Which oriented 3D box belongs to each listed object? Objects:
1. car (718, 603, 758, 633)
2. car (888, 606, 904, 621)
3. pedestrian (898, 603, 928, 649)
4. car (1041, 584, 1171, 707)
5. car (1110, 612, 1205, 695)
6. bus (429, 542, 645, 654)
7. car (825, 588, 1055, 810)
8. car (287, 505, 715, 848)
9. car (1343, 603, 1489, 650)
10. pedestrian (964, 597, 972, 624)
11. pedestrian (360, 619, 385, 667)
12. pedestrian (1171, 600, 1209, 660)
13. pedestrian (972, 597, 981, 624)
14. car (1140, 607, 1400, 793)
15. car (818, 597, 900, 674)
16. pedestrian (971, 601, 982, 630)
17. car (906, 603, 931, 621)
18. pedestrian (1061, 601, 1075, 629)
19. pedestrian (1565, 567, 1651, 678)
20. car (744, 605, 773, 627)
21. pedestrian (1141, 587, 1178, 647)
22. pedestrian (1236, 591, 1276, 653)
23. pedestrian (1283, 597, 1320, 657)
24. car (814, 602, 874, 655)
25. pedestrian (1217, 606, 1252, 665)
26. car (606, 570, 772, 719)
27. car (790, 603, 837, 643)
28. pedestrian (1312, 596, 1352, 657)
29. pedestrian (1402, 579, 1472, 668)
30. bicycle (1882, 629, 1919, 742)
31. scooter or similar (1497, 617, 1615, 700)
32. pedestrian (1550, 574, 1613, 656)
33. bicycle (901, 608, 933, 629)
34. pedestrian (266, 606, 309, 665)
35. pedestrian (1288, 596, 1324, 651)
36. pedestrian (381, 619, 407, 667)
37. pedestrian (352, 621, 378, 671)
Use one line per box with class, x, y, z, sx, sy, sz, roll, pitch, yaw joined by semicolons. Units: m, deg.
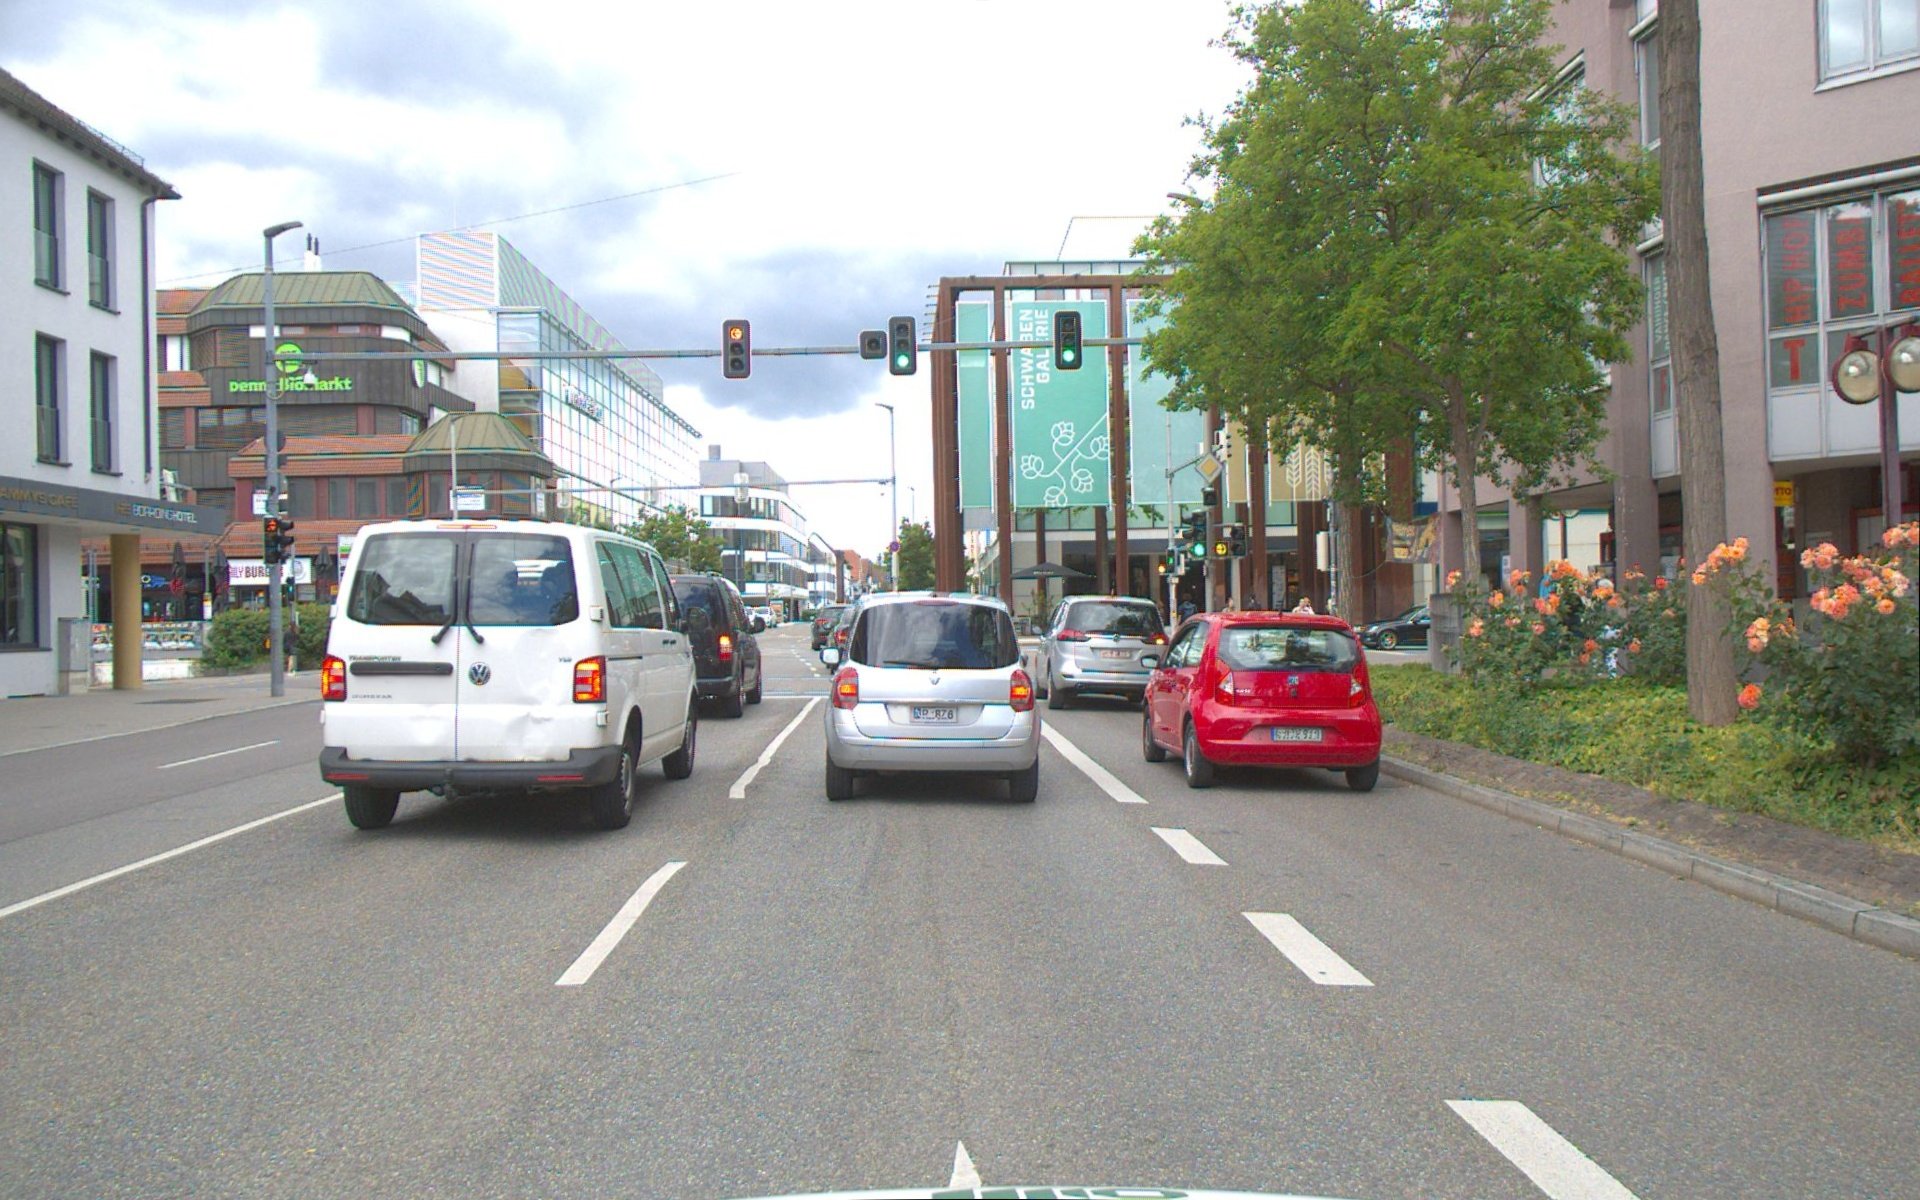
car;-11.923;0.952;89.010;1.709;1.484;4.233;-2;0;-2
car;-6.800;1.452;176.906;1.626;1.491;3.999;-2;0;-1
pedestrian;-1.747;0.974;61.807;0.854;1.675;0.678;-1;0;32
car;2.188;0.651;25.738;1.703;1.730;4.381;1;0;1
car;4.429;1.120;36.526;1.811;1.637;4.865;0;0;10
bus;-14.665;-0.141;58.851;2.924;3.385;12.316;-4;0;7
car;-0.191;0.713;13.724;1.636;1.581;3.641;1;0;-2
car;-3.108;0.462;12.338;1.953;2.049;4.838;0;0;-2
car;14.377;0.828;52.247;4.091;1.429;1.799;0;0;-5
pedestrian;0.465;0.622;98.158;0.418;1.576;0.481;-1;0;-4
pedestrian;-19.860;1.455;55.920;0.625;1.615;0.526;-1;0;-1
pedestrian;6.764;0.875;48.669;0.861;1.711;1.119;-1;0;-5
pedestrian;0.982;0.628;98.229;0.418;1.576;0.481;-1;0;-4
car;2.702;0.818;15.167;1.593;1.473;3.641;1;0;-2
car;-2.158;0.744;36.083;1.636;1.581;3.641;1;0;-2
pedestrian;0.719;0.657;69.887;0.438;1.241;0.606;-1;0;1
car;-3.180;0.901;127.424;1.839;1.358;3.999;1;0;-1
pedestrian;4.920;0.669;75.124;0.505;1.229;0.795;-1;1;-4
pedestrian;9.914;0.335;25.338;0.792;1.654;1.092;-2;0;-4
car;-14.340;1.134;117.864;1.626;1.491;3.999;-2;0;-1
pedestrian;5.854;0.501;48.602;0.861;1.711;1.119;-1;0;-5
pedestrian;8.763;0.653;48.988;0.861;1.798;1.119;-1;0;-5
pedestrian;9.618;0.747;46.615;0.727;1.654;0.952;-2;0;-5
car;-3.462;0.828;49.988;1.636;1.521;3.641;1;0;-2
pedestrian;7.927;1.023;47.763;0.727;1.654;0.952;-2;0;-5
car;-3.664;0.560;23.111;1.673;1.852;4.570;1;0;-2
car;-5.785;0.883;65.756;1.636;1.521;3.641;1;0;-2
pedestrian;11.269;0.799;50.139;0.861;1.798;1.119;-1;0;-5
pedestrian;9.573;0.458;33.254;1.035;1.745;1.109;-1;0;-3
bicycle;9.618;0.805;15.604;1.540;1.067;0.404;-1;0;40
scooter or similar;8.367;0.808;23.304;0.463;1.106;1.877;-2;-1;-19
pedestrian;12.611;0.299;33.581;0.813;1.612;1.058;-1;0;-5
bicycle;-2.157;0.913;83.257;1.528;1.010;0.752;-1;0;1
pedestrian;-21.035;1.102;51.762;0.929;1.786;0.944;-1;0;0
pedestrian;10.439;0.692;49.953;0.805;1.623;1.038;-1;0;-4
pedestrian;-19.168;1.459;56.057;0.625;1.615;0.656;-1;0;0
pedestrian;-19.641;1.518;54.620;0.625;1.615;0.526;-1;0;-1
